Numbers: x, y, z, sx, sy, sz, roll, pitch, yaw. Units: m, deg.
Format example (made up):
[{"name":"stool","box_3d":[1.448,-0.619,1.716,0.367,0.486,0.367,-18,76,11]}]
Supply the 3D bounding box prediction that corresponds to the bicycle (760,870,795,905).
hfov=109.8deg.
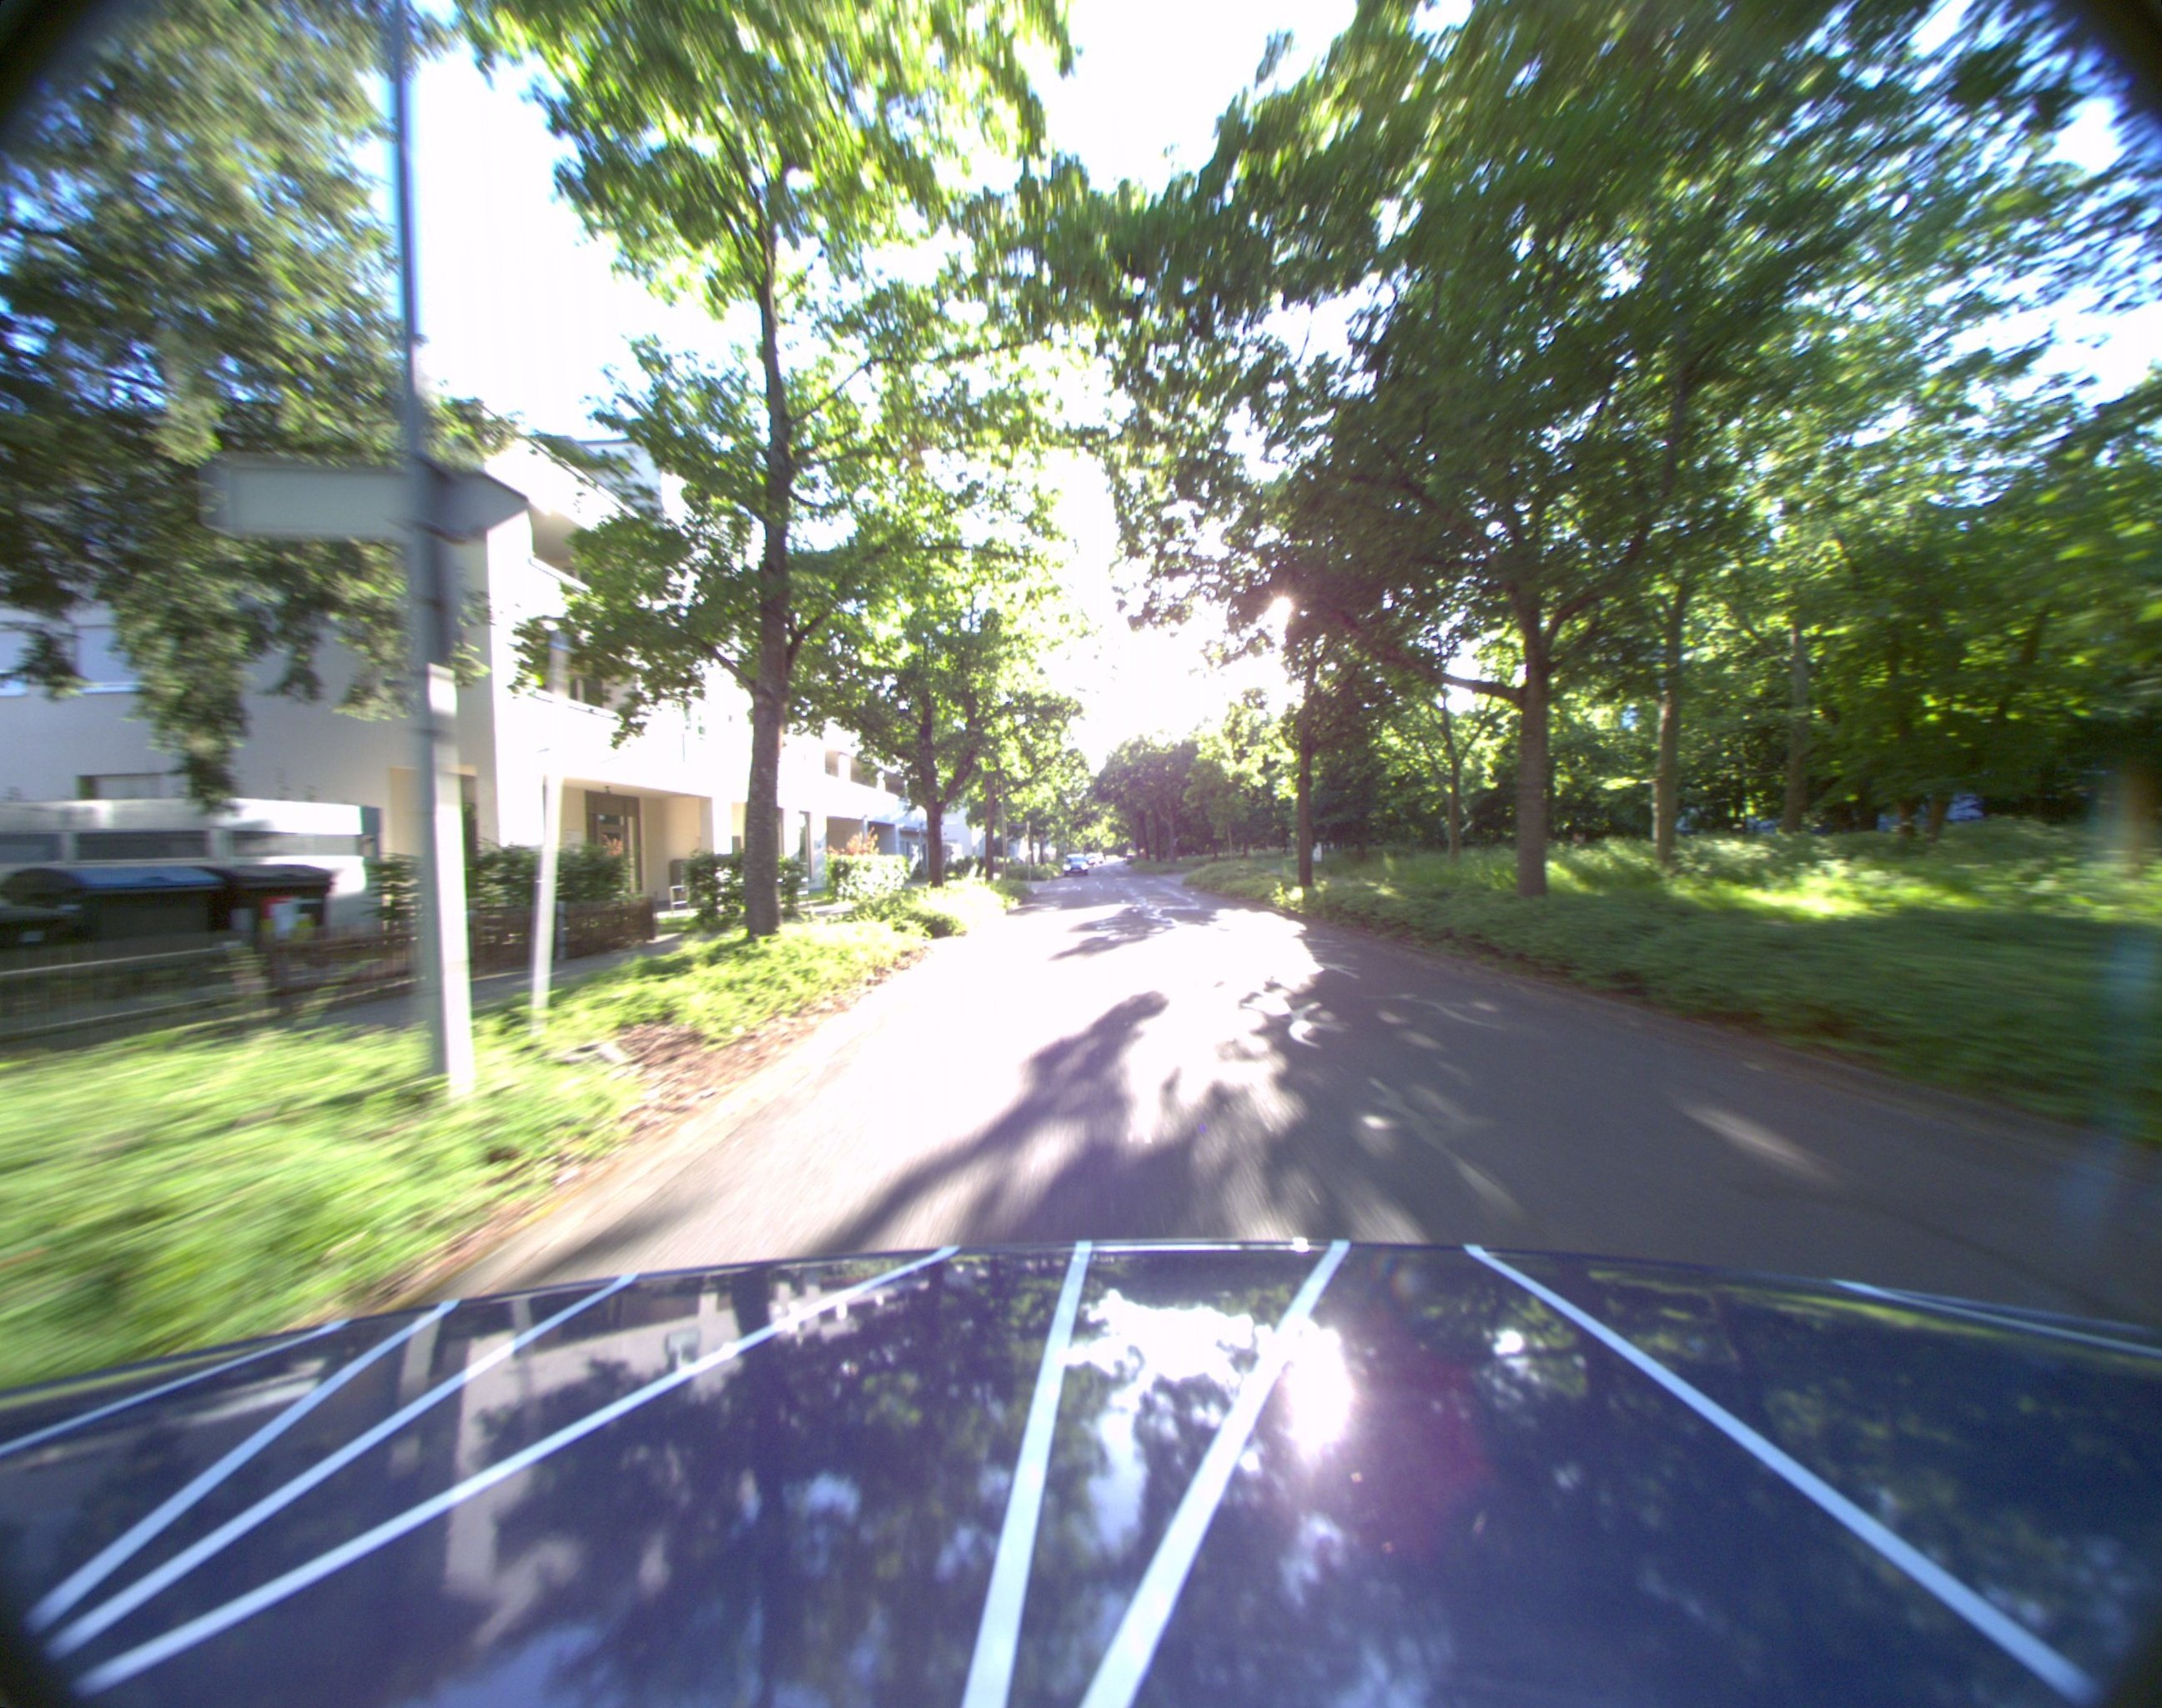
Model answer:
[{"name":"bicycle","box_3d":[-10.574,1.146,26.531,0.420,1.104,1.787,-3,1,1]}]

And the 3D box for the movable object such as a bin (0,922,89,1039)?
[{"name":"movable object such as a bin","box_3d":[-10.276,1.201,7.346,0.539,1.024,0.615,0,1,0]}]

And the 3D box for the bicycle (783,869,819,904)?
[{"name":"bicycle","box_3d":[-9.841,1.130,26.754,0.420,1.081,2.112,-3,1,1]}]

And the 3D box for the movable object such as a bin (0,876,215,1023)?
[{"name":"movable object such as a bin","box_3d":[-10.780,0.975,8.269,1.081,1.422,1.387,0,1,0]}]

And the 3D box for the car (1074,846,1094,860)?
[{"name":"car","box_3d":[0.385,-0.145,86.272,1.998,1.531,4.000,-3,1,2]}]

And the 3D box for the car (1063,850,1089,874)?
[{"name":"car","box_3d":[-0.405,0.591,58.458,1.890,1.612,4.617,-3,1,-1]}]

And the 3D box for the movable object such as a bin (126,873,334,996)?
[{"name":"movable object such as a bin","box_3d":[-10.781,0.972,9.711,1.081,1.419,1.366,0,1,0]}]
